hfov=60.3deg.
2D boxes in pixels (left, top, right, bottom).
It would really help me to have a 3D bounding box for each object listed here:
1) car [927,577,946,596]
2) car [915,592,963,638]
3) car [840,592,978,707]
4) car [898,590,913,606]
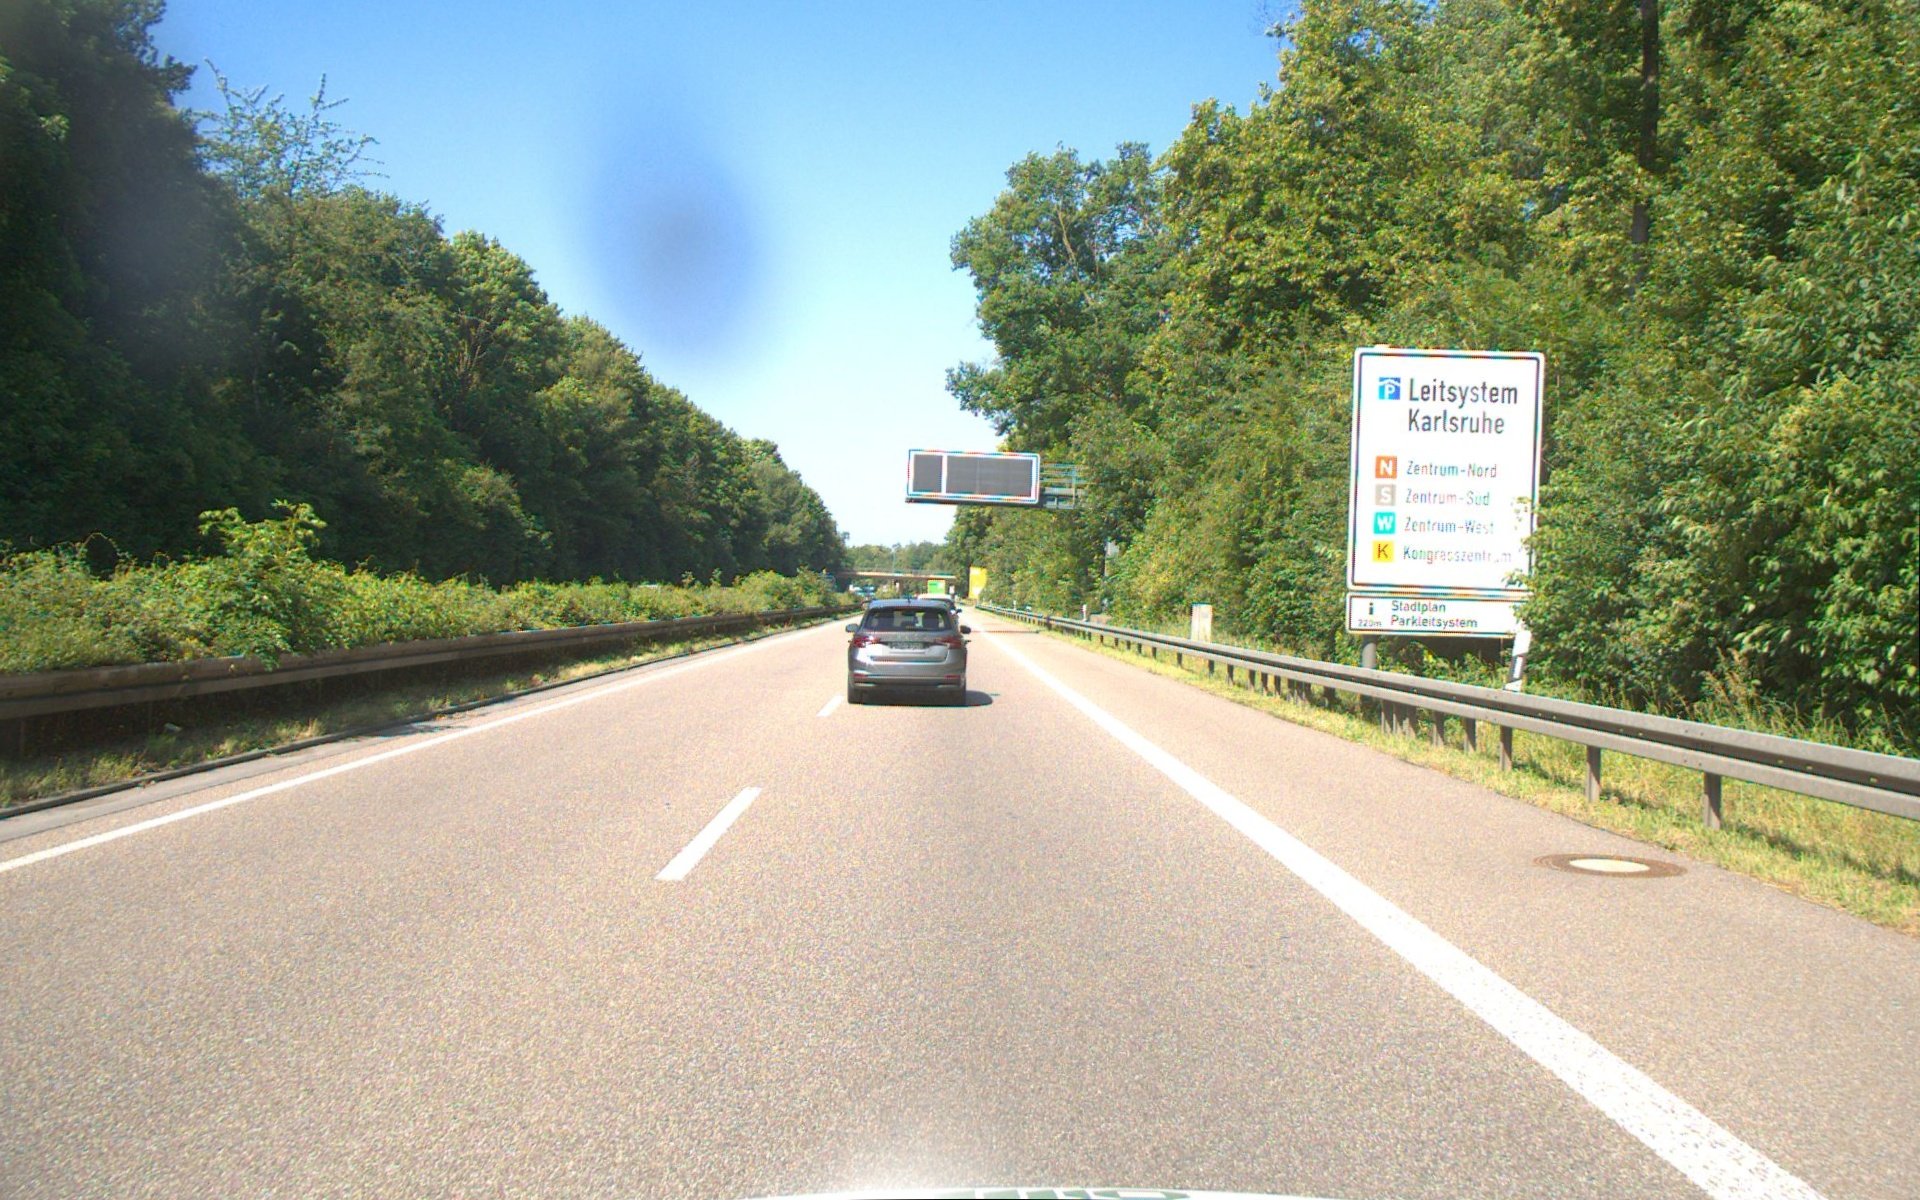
[{"bbox_3d":[-3.467,-1.973,246.453,2.693,2.700,3.999,1,0,-1],"label":"car"},{"bbox_3d":[-0.688,0.491,56.159,1.491,1.472,3.340,1,0,1],"label":"car"},{"bbox_3d":[-0.659,0.655,23.871,1.802,1.497,3.624,1,0,1],"label":"car"},{"bbox_3d":[-7.247,-0.250,220.338,1.953,2.049,3.999,1,0,-1],"label":"car"}]
